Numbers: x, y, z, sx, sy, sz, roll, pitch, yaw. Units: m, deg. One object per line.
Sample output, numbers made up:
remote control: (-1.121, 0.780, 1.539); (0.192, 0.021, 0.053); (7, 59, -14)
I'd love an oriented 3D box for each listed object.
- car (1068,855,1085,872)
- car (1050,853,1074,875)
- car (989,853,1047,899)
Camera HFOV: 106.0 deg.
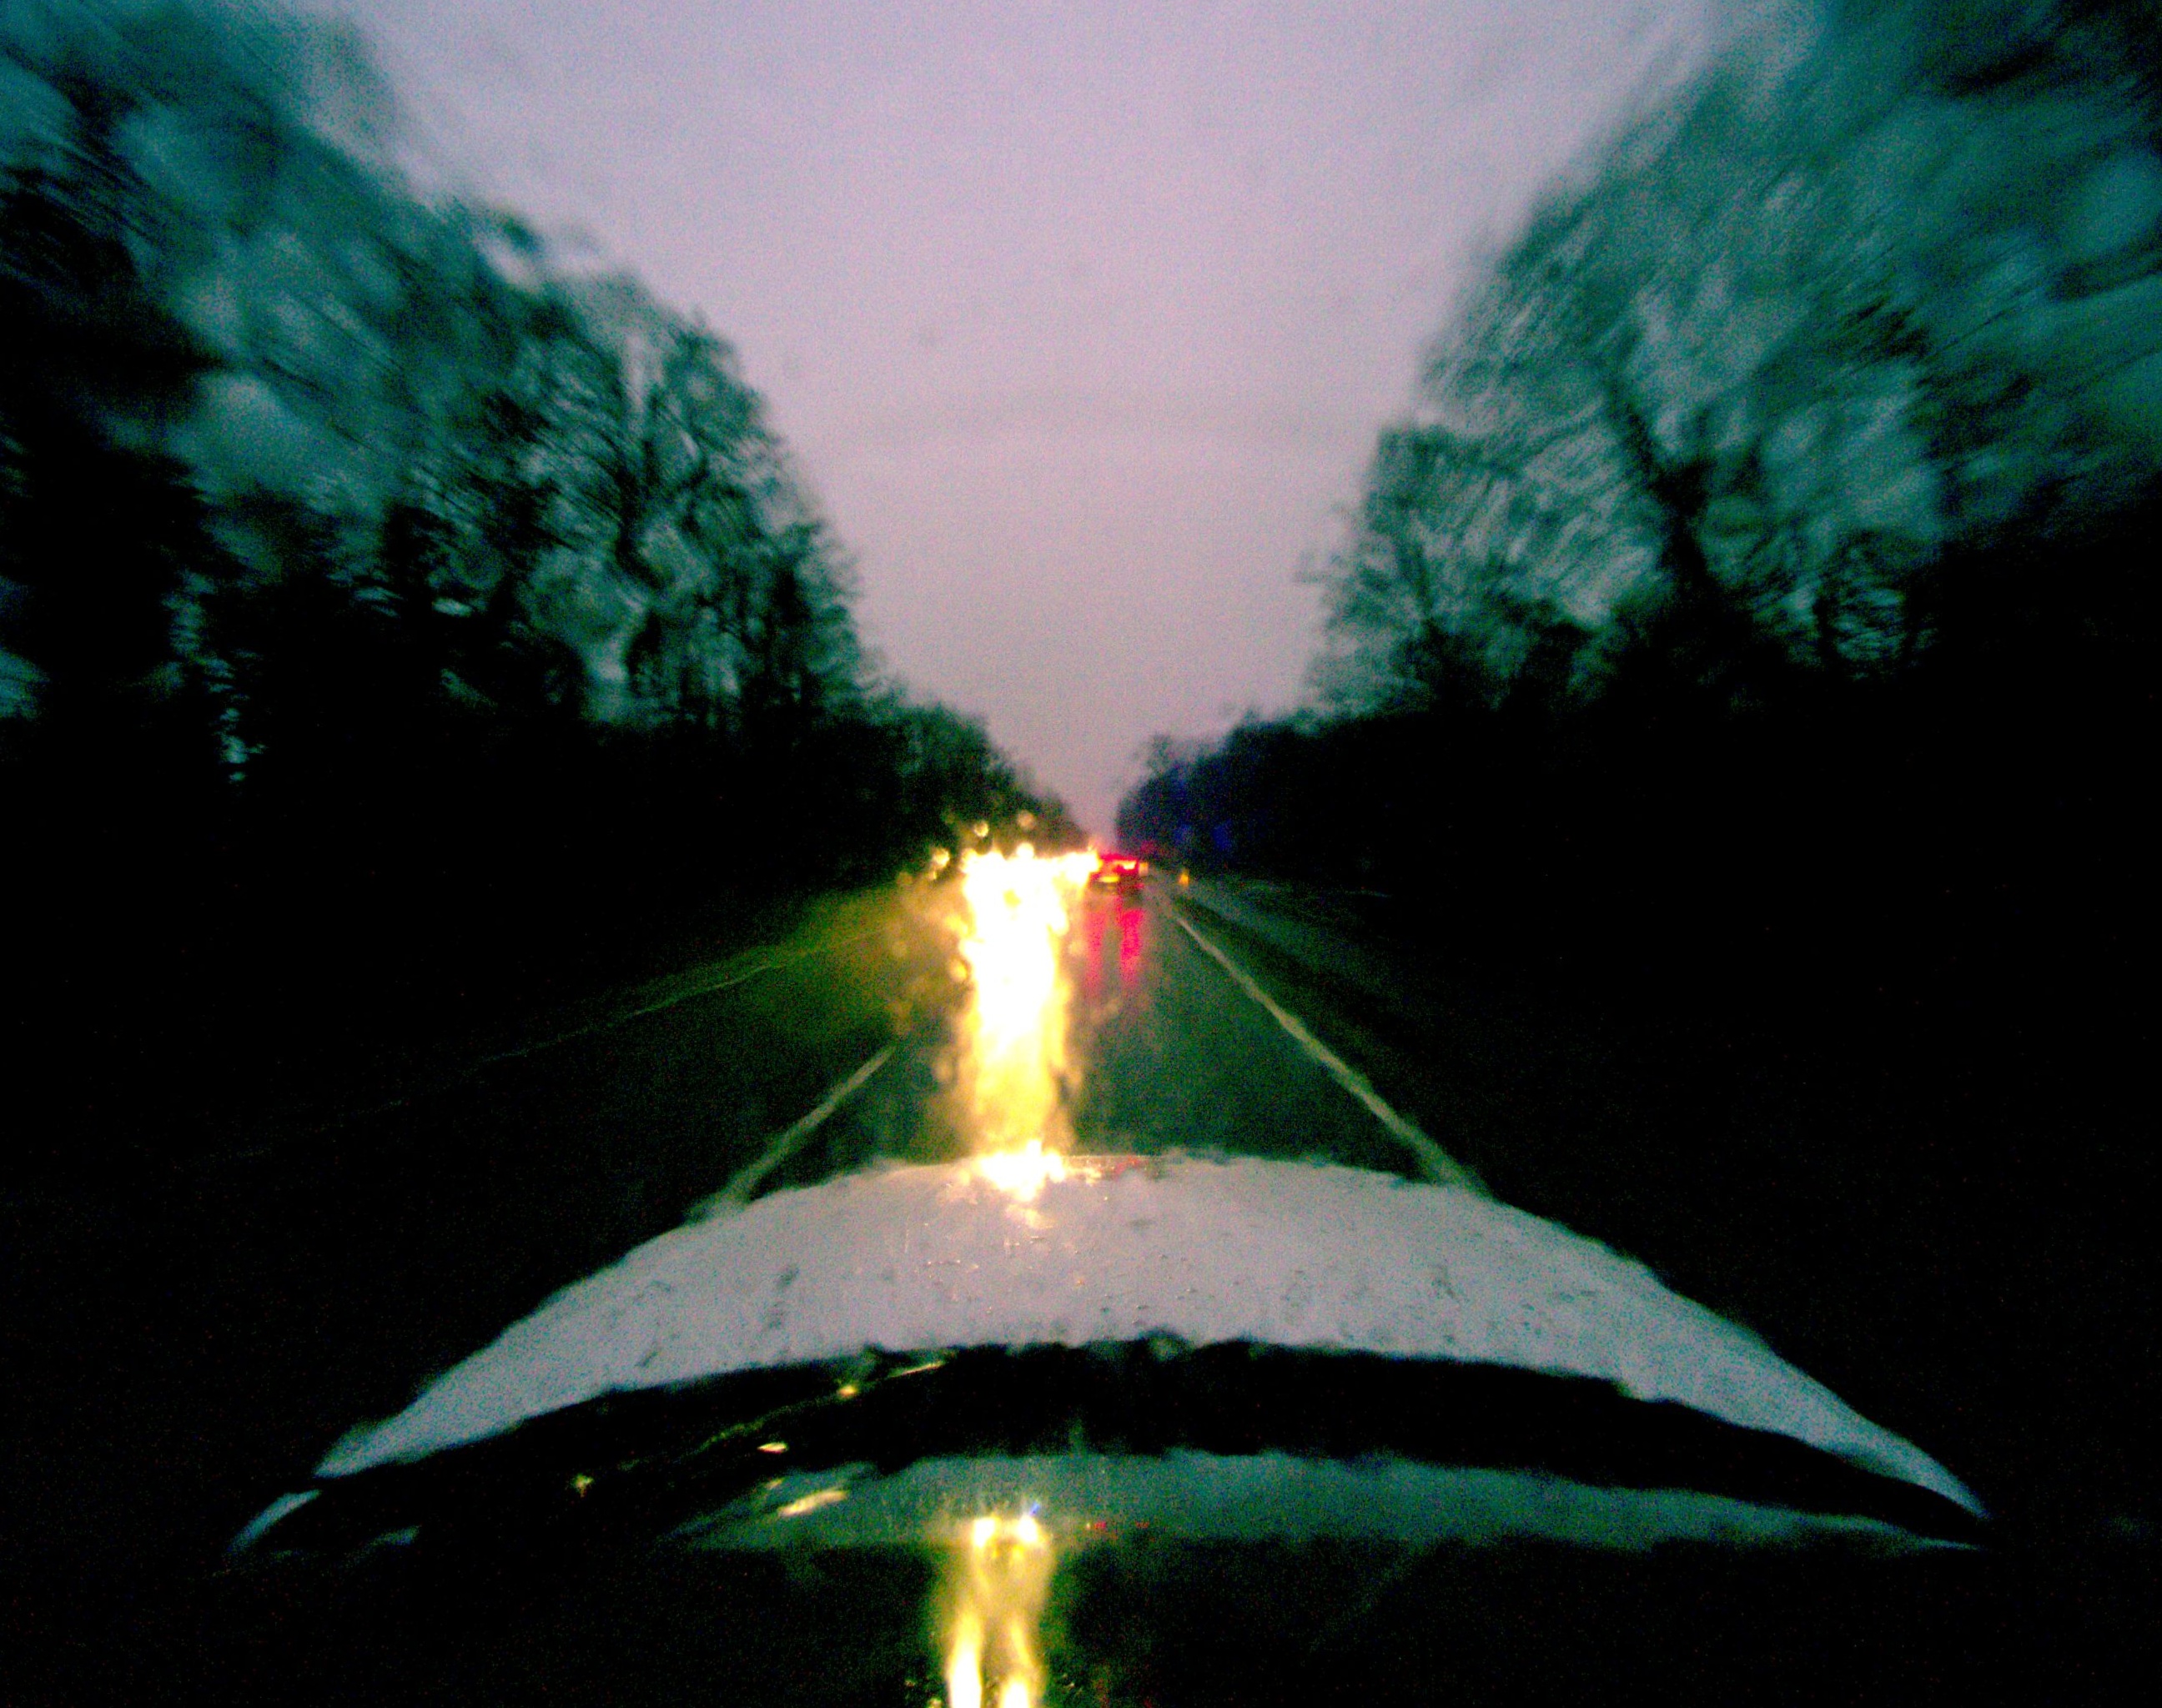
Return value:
car: (-0.490, 1.032, 93.084); (1.700, 1.822, 4.287); (-3, 0, 2)
car: (-1.419, 0.753, 61.952); (1.575, 1.550, 4.001); (-3, 0, 1)
car: (-2.373, 0.807, 31.629); (1.734, 1.635, 4.002); (-2, 0, 2)
